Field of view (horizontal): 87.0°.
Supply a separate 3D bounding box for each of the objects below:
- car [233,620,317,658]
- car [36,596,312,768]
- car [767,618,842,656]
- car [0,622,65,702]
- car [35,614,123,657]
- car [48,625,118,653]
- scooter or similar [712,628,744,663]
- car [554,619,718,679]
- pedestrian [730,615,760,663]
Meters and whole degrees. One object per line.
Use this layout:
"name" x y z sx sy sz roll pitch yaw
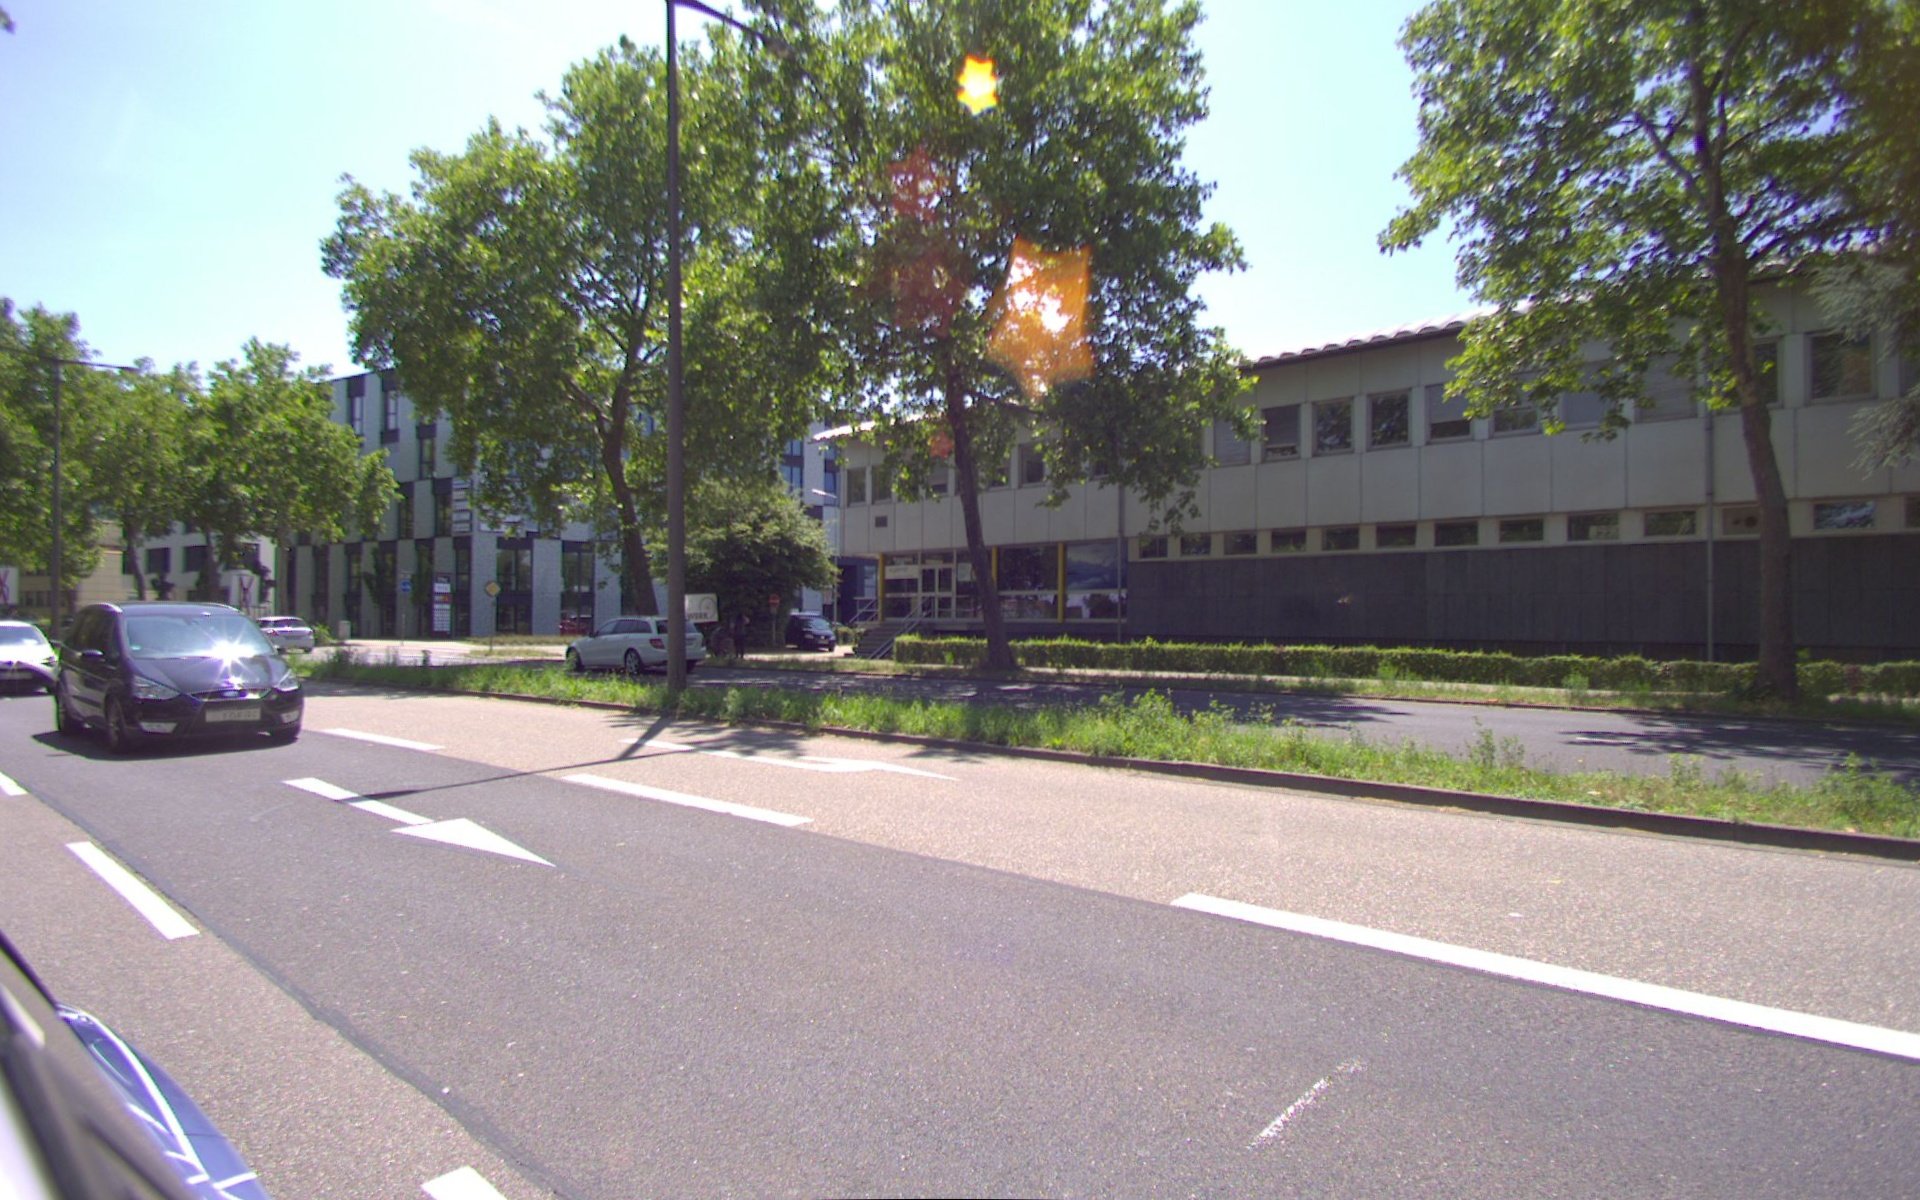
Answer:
"car" -28.185 1.578 41.630 3.666 1.470 1.716 -1 -2 36
"car" -9.910 0.890 12.621 4.645 1.769 1.835 -1 -1 41
"car" -7.444 1.727 48.342 3.528 1.660 1.795 -1 0 44
"car" -19.406 1.209 20.206 3.645 1.456 1.604 -1 0 37
"car" -36.511 1.443 41.907 4.615 1.668 1.930 -1 -2 39
"car" -46.295 2.025 53.405 3.659 1.454 1.739 -1 -2 31
"scooter or similar" -7.897 1.531 34.431 0.857 1.172 0.672 -1 -2 35
"car" -8.474 1.223 26.329 4.541 1.429 1.836 -1 -2 38
"pedestrian" -7.216 1.307 33.954 0.789 1.572 0.636 -1 -2 35
